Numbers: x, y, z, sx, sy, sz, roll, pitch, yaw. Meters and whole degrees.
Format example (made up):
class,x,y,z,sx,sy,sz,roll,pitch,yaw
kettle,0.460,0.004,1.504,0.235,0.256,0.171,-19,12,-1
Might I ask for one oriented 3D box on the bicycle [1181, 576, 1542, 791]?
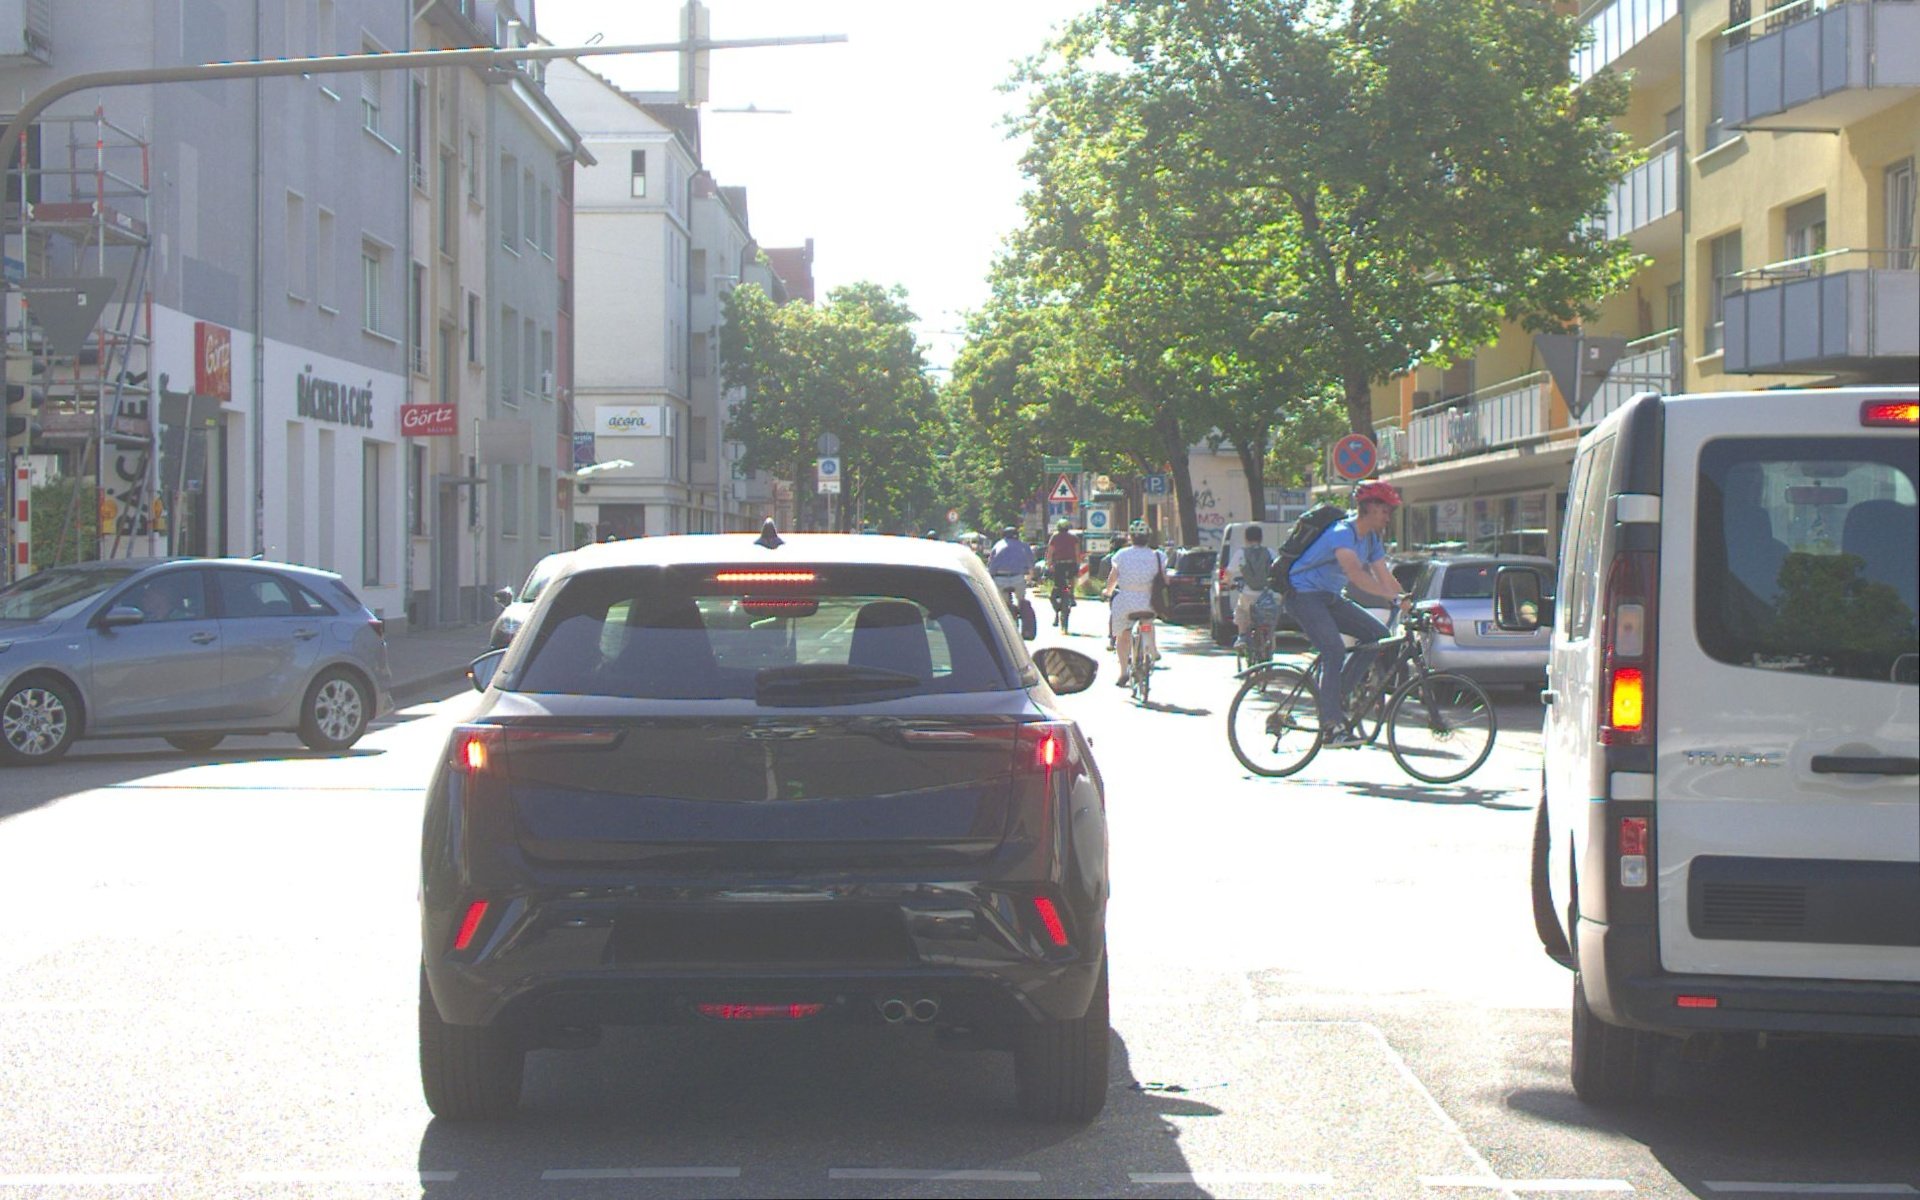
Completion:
class,x,y,z,sx,sy,sz,roll,pitch,yaw
bicycle,2.473,0.486,21.334,2.137,1.251,0.802,1,1,40

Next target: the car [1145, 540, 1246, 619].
class,x,y,z,sx,sy,sz,roll,pitch,yaw
car,4.517,-0.417,66.397,1.712,1.478,3.381,0,1,0

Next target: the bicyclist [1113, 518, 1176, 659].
class,x,y,z,sx,sy,sz,roll,pitch,yaw
bicyclist,1.819,-0.120,34.023,0.588,1.378,0.823,0,1,1

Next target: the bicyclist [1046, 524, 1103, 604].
class,x,y,z,sx,sy,sz,roll,pitch,yaw
bicyclist,1.937,-0.610,58.181,0.856,1.310,1.210,2,1,-1

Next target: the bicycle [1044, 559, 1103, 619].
class,x,y,z,sx,sy,sz,roll,pitch,yaw
bicycle,1.915,-0.198,58.143,0.856,0.941,2.308,2,1,-1

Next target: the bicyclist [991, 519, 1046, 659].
class,x,y,z,sx,sy,sz,roll,pitch,yaw
bicyclist,0.703,-0.141,41.674,0.632,1.663,1.050,0,1,-1

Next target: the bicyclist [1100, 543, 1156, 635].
class,x,y,z,sx,sy,sz,roll,pitch,yaw
bicyclist,2.172,-0.146,44.530,0.692,1.189,0.595,0,1,1

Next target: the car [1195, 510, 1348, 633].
class,x,y,z,sx,sy,sz,roll,pitch,yaw
car,4.846,-0.475,54.024,2.046,1.840,4.584,0,1,1

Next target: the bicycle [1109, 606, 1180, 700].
class,x,y,z,sx,sy,sz,roll,pitch,yaw
bicycle,1.815,0.509,33.965,0.620,0.863,1.876,0,1,1

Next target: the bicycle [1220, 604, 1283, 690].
class,x,y,z,sx,sy,sz,roll,pitch,yaw
bicycle,3.135,0.499,37.109,0.547,0.863,1.876,0,1,1

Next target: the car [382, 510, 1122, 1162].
class,x,y,z,sx,sy,sz,roll,pitch,yaw
car,-0.521,0.539,10.215,1.762,1.553,4.000,0,1,-1

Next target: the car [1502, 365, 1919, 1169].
class,x,y,z,sx,sy,sz,roll,pitch,yaw
car,2.798,0.393,10.817,1.969,1.933,5.054,2,1,7

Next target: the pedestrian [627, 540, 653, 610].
class,x,y,z,sx,sy,sz,roll,pitch,yaw
pedestrian,-7.204,-0.572,77.465,0.577,1.577,0.708,0,1,-6

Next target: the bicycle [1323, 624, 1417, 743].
class,x,y,z,sx,sy,sz,roll,pitch,yaw
bicycle,3.253,0.649,27.373,0.547,0.863,1.876,0,1,1

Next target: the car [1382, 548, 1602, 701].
class,x,y,z,sx,sy,sz,roll,pitch,yaw
car,5.431,0.215,35.459,1.712,1.478,3.480,0,1,0

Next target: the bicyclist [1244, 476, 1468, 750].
class,x,y,z,sx,sy,sz,roll,pitch,yaw
bicyclist,2.454,0.066,21.337,1.124,1.644,0.802,1,1,40

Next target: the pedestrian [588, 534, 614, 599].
class,x,y,z,sx,sy,sz,roll,pitch,yaw
pedestrian,-8.108,-0.765,77.685,0.577,1.462,0.703,0,1,-6

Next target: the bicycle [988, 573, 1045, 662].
class,x,y,z,sx,sy,sz,roll,pitch,yaw
bicycle,0.680,0.199,41.801,0.632,1.037,1.795,0,1,-1

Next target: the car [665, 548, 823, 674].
class,x,y,z,sx,sy,sz,roll,pitch,yaw
car,-2.643,0.099,42.367,1.804,1.408,4.426,-2,1,-3

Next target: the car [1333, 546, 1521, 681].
class,x,y,z,sx,sy,sz,roll,pitch,yaw
car,5.382,0.126,39.933,1.712,1.478,3.381,0,1,0

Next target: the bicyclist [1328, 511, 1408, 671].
class,x,y,z,sx,sy,sz,roll,pitch,yaw
bicyclist,3.252,-0.081,27.433,0.547,1.257,0.803,0,1,1

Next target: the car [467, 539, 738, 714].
class,x,y,z,sx,sy,sz,roll,pitch,yaw
car,-3.348,0.218,32.935,1.592,1.560,4.088,-1,0,9

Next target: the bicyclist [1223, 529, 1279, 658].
class,x,y,z,sx,sy,sz,roll,pitch,yaw
bicyclist,3.142,-0.079,37.163,0.547,1.378,0.823,0,1,1

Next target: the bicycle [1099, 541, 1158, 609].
class,x,y,z,sx,sy,sz,roll,pitch,yaw
bicycle,2.171,-0.335,44.535,0.691,0.863,1.876,0,1,1

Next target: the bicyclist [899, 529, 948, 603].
class,x,y,z,sx,sy,sz,roll,pitch,yaw
bicyclist,-0.672,-0.630,63.416,0.856,1.310,1.210,2,1,-1

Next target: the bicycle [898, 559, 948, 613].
class,x,y,z,sx,sy,sz,roll,pitch,yaw
bicycle,-0.681,-0.268,63.381,0.856,0.941,2.308,2,1,-1

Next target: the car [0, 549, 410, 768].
class,x,y,z,sx,sy,sz,roll,pitch,yaw
car,-6.095,0.361,24.470,1.841,1.429,4.167,1,1,38
